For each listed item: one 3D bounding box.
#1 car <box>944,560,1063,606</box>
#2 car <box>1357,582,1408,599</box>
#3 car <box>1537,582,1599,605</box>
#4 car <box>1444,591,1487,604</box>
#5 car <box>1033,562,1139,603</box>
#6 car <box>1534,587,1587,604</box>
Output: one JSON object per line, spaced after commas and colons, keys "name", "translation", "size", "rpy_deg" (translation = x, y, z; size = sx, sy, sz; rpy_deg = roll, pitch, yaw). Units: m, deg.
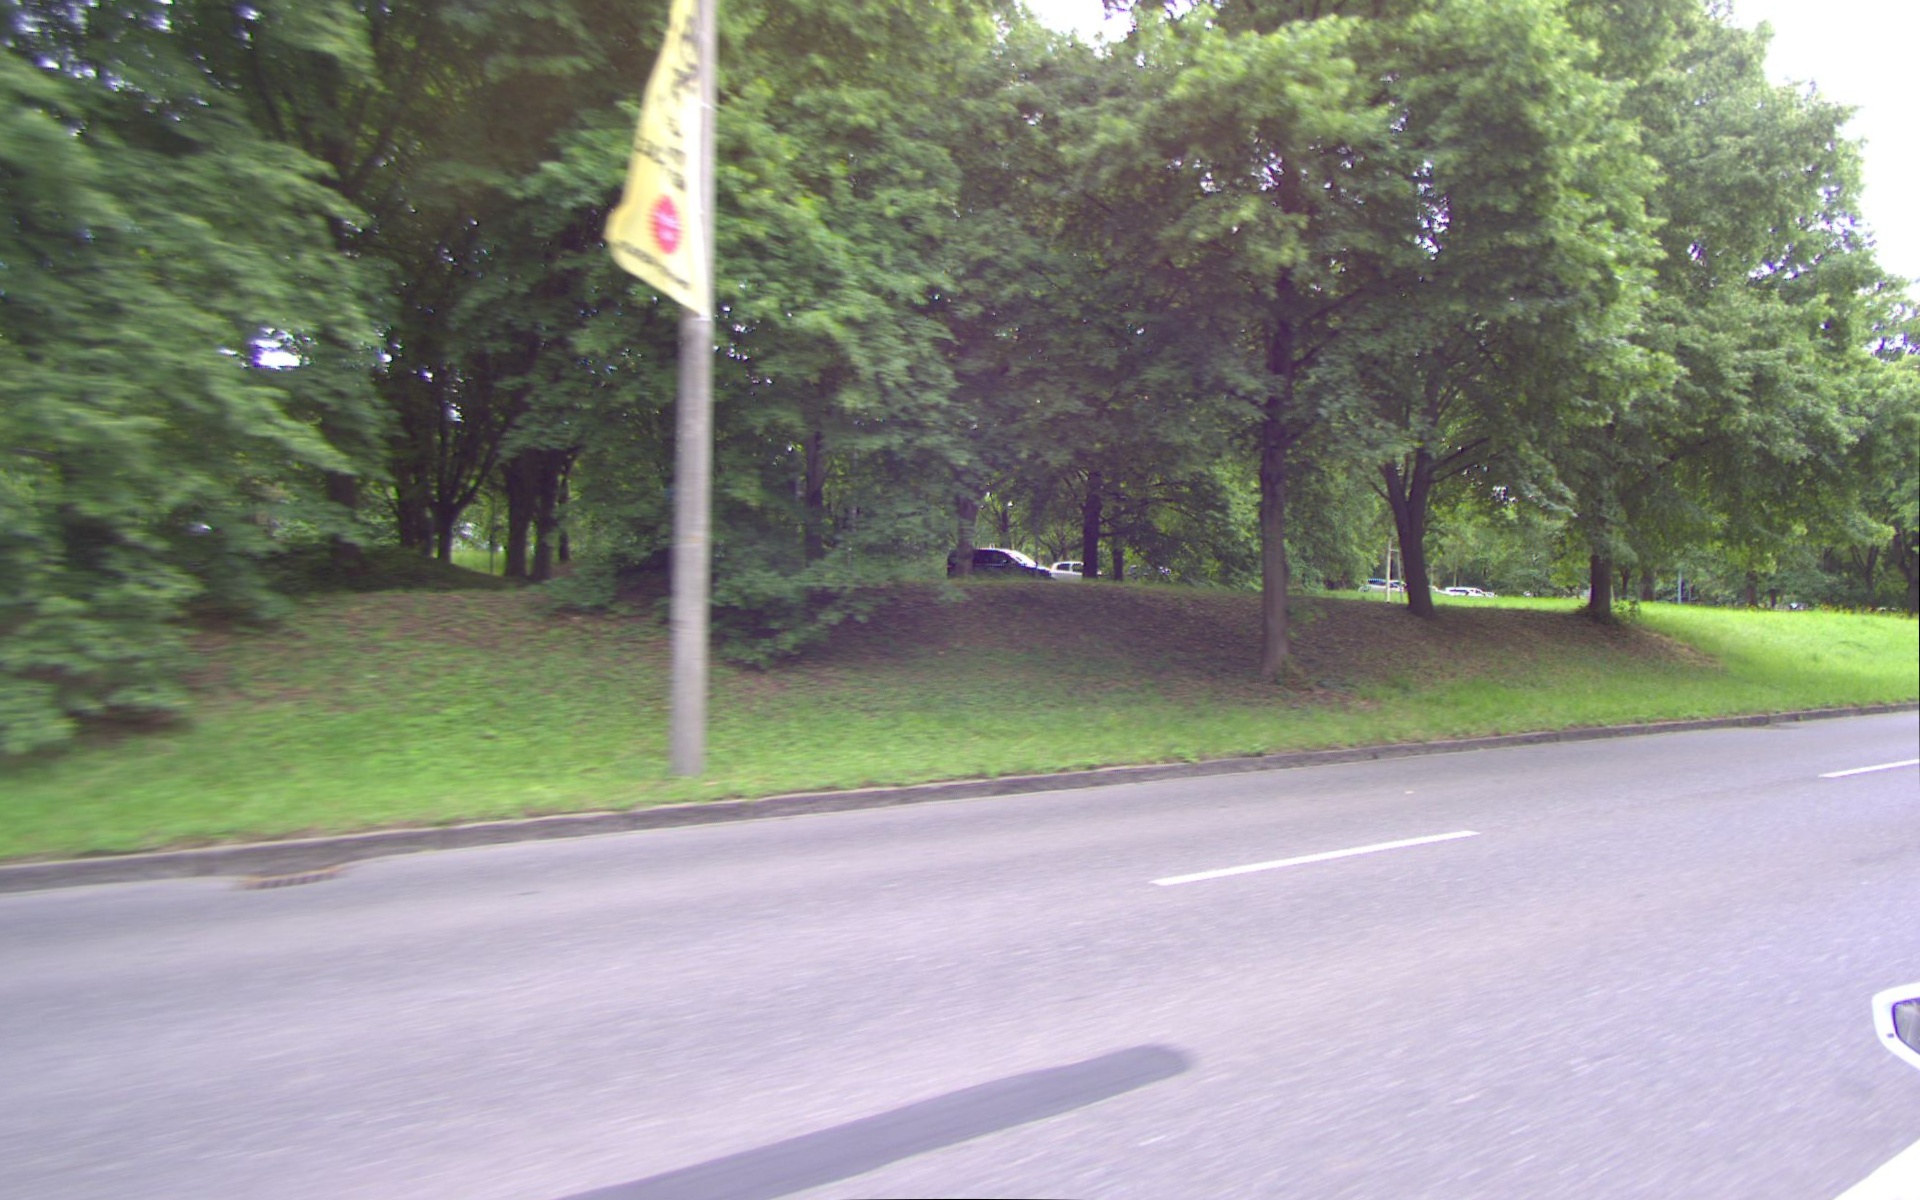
{"name": "car", "translation": [1.869, -0.756, 43.937], "size": [4.821, 1.921, 1.995], "rpy_deg": [2, 0, 33]}
{"name": "car", "translation": [32.856, -0.745, 78.058], "size": [3.448, 1.250, 1.396], "rpy_deg": [2, 0, 33]}
{"name": "car", "translation": [47.995, -0.553, 79.304], "size": [4.049, 1.706, 1.748], "rpy_deg": [2, 0, 37]}
{"name": "car", "translation": [54.934, -0.258, 109.110], "size": [3.920, 1.226, 1.897], "rpy_deg": [2, 0, 36]}
{"name": "car", "translation": [6.384, -0.901, 51.023], "size": [4.821, 1.921, 2.315], "rpy_deg": [2, 0, 33]}
{"name": "car", "translation": [46.038, -0.372, 77.029], "size": [3.448, 1.226, 1.396], "rpy_deg": [2, 0, 33]}
